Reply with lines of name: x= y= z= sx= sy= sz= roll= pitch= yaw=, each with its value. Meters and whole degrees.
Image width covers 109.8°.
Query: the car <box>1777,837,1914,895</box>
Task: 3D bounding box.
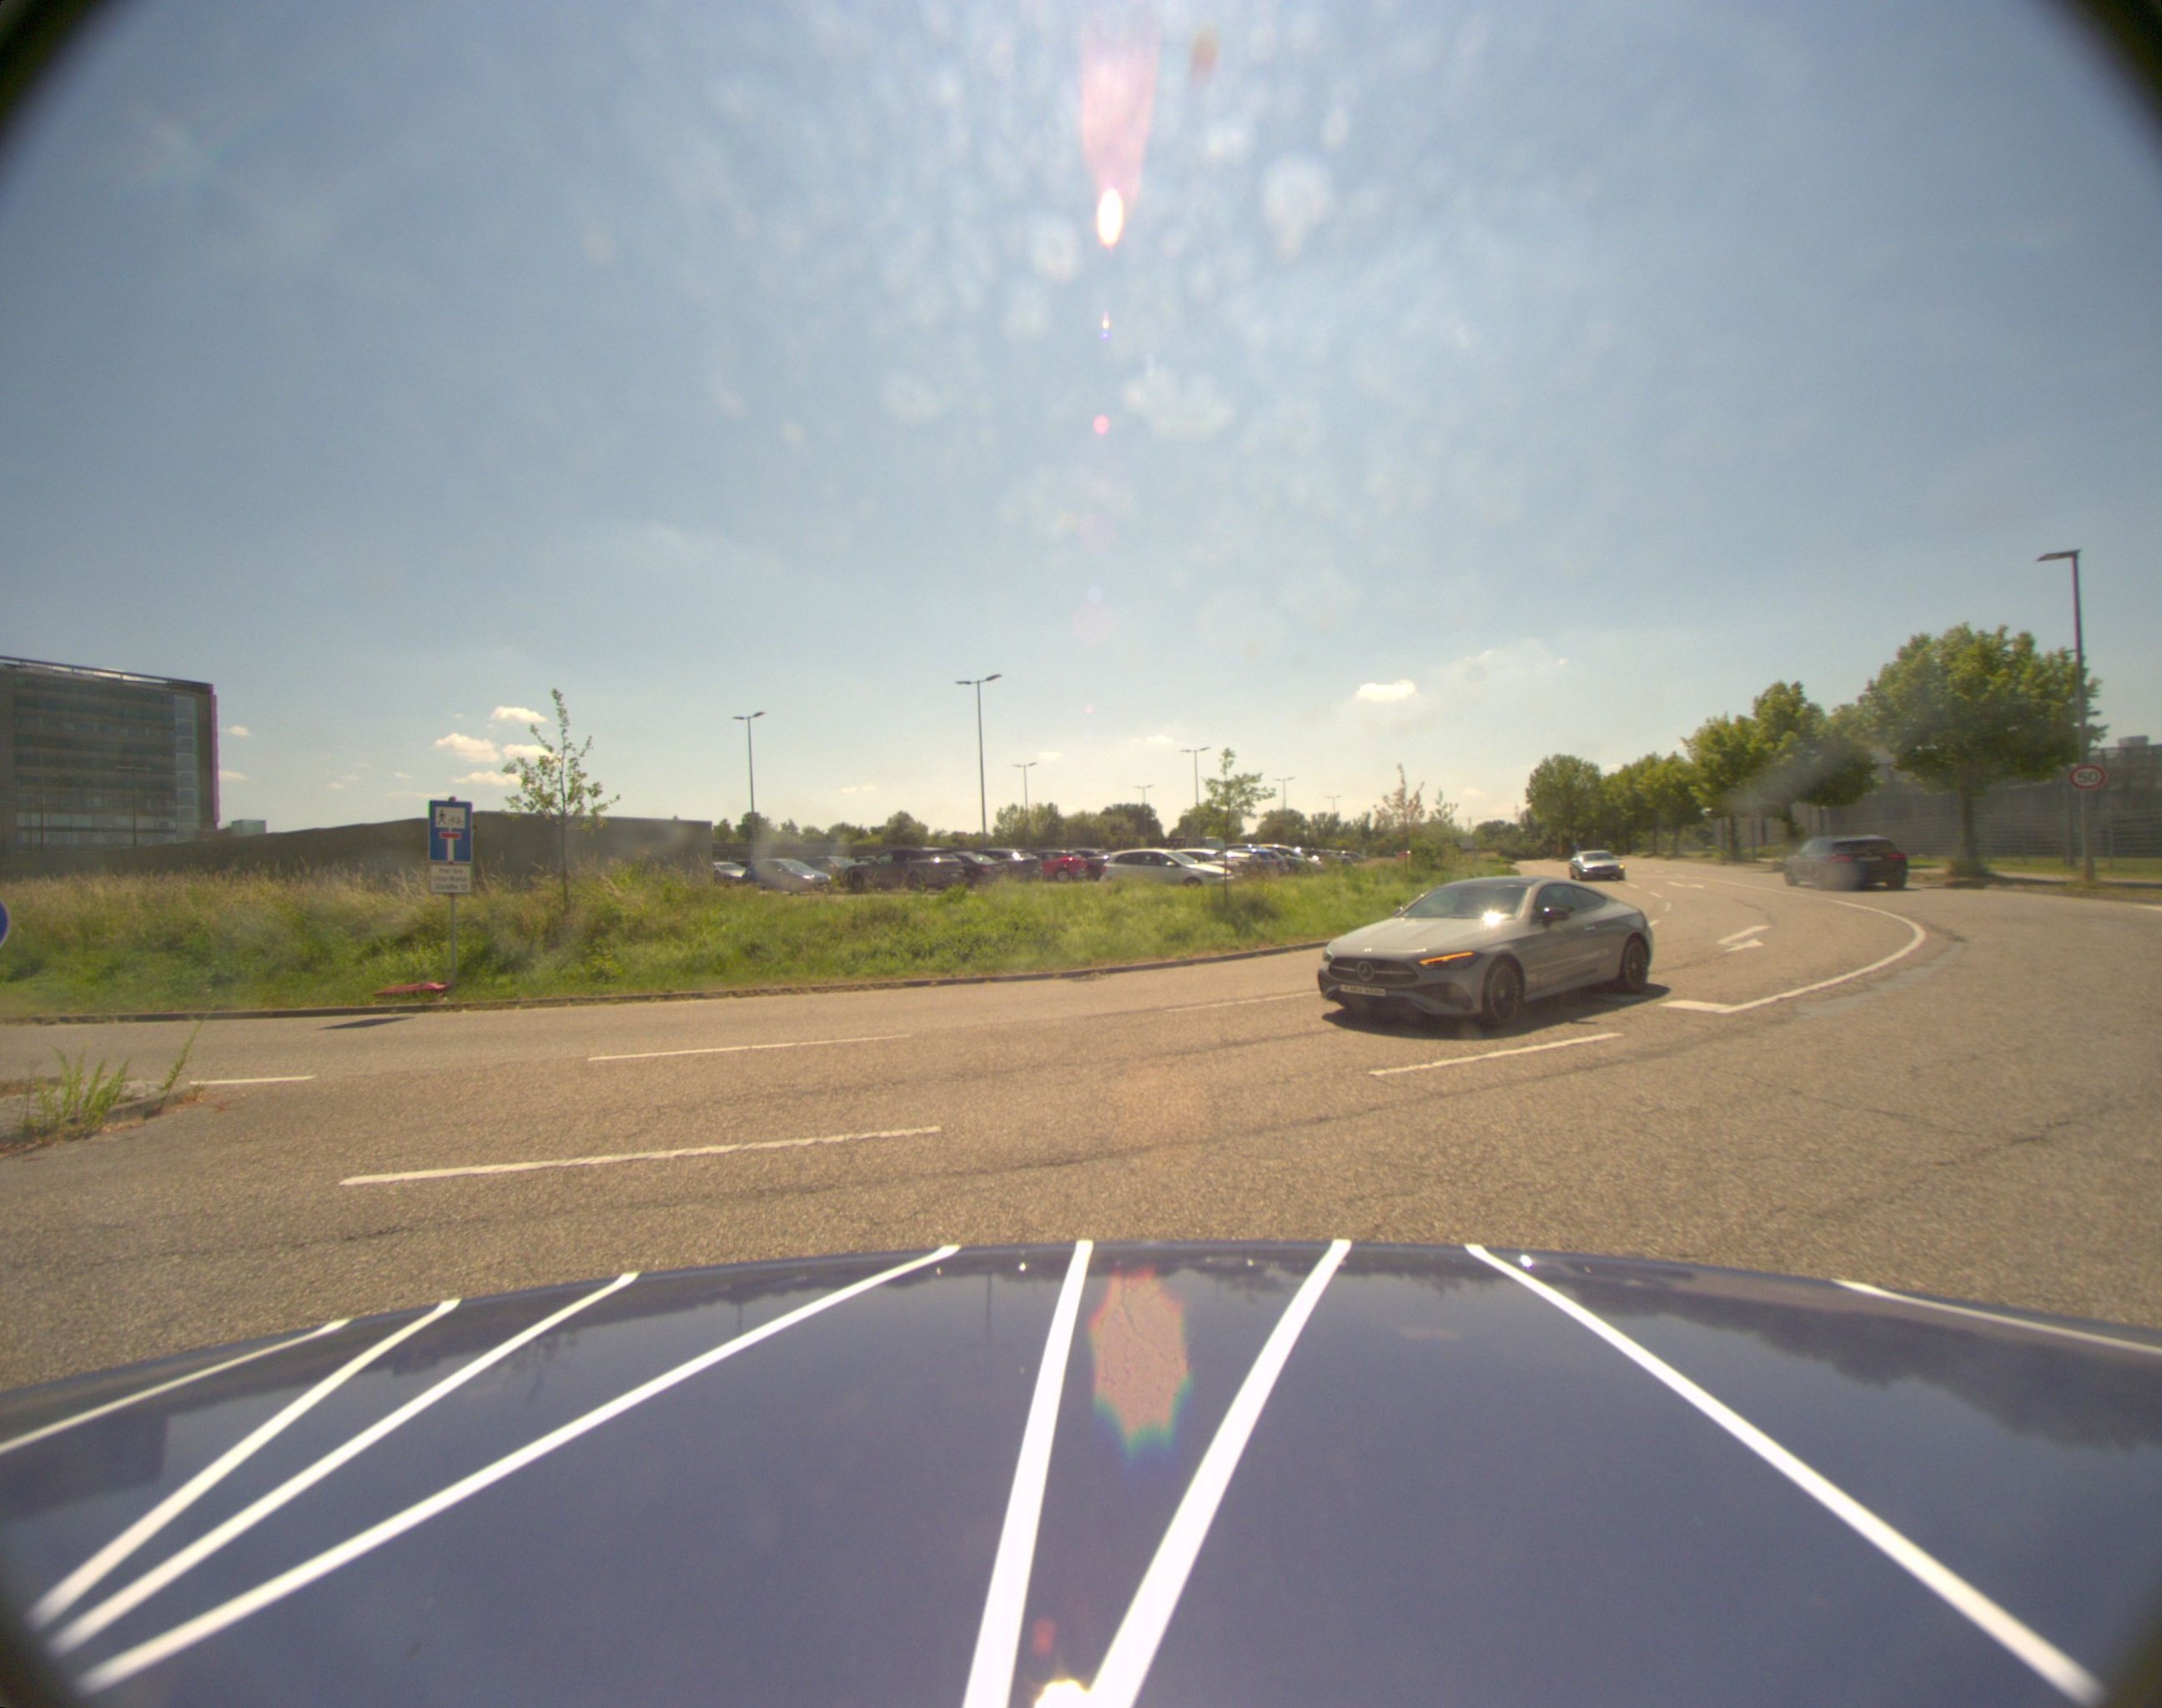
car: x=24.111 y=0.320 z=24.183 sx=1.865 sy=1.625 sz=4.607 roll=-3 pitch=0 yaw=30

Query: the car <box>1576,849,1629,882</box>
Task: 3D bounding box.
car: x=25.424 y=0.535 z=37.166 sx=1.670 sy=1.366 sz=4.505 roll=-5 pitch=-1 yaw=30

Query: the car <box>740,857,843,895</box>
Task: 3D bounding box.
car: x=-11.559 y=0.880 z=30.313 sx=3.631 sy=1.437 sz=1.655 roll=-1 pitch=0 yaw=21

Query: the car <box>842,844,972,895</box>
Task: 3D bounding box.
car: x=-6.491 y=0.612 z=28.270 sx=4.593 sy=1.680 sz=1.781 roll=-3 pitch=-1 yaw=27

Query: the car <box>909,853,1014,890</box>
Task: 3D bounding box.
car: x=-4.760 y=0.697 z=30.192 sx=3.839 sy=1.355 sz=1.655 roll=-1 pitch=1 yaw=27

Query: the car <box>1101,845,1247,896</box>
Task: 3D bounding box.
car: x=2.680 y=0.490 z=22.098 sx=3.868 sy=1.290 sz=1.577 roll=-2 pitch=2 yaw=30

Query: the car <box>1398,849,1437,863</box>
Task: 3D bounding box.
car: x=39.128 y=0.192 z=88.384 sx=3.991 sy=1.343 sz=1.649 roll=-4 pitch=0 yaw=25

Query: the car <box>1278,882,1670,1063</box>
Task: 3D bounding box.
car: x=4.630 y=1.124 z=8.718 sx=4.641 sy=1.375 sz=1.894 roll=-2 pitch=-1 yaw=-33

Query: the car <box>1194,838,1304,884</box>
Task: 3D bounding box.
car: x=6.952 y=0.310 z=31.462 sx=4.032 sy=1.421 sz=1.690 roll=-7 pitch=-2 yaw=26

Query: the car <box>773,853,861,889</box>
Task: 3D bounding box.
car: x=-11.800 y=0.748 z=33.944 sx=3.630 sy=1.490 sz=1.601 roll=-1 pitch=1 yaw=27

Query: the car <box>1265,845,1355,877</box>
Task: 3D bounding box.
car: x=11.647 y=0.363 z=38.645 sx=3.990 sy=1.284 sz=1.912 roll=-4 pitch=0 yaw=30

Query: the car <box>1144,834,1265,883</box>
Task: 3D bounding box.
car: x=4.394 y=0.172 z=27.073 sx=3.738 sy=1.519 sz=1.880 roll=-2 pitch=2 yaw=34

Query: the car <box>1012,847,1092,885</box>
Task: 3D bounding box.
car: x=-1.408 y=0.570 z=36.681 sx=3.412 sy=1.564 sz=1.524 roll=-4 pitch=0 yaw=25

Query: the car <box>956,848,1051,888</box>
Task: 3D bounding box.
car: x=-3.344 y=0.589 z=32.657 sx=3.630 sy=1.588 sz=1.772 roll=-1 pitch=1 yaw=27

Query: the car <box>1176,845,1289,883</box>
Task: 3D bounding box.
car: x=5.852 y=0.387 z=29.376 sx=3.937 sy=1.250 sz=1.588 roll=-2 pitch=2 yaw=26

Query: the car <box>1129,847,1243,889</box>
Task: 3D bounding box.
car: x=3.394 y=0.461 z=24.574 sx=3.262 sy=1.175 sz=1.503 roll=-2 pitch=2 yaw=29

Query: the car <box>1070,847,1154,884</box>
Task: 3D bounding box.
car: x=1.599 y=0.587 z=39.211 sx=3.870 sy=1.590 sz=1.743 roll=-4 pitch=0 yaw=26

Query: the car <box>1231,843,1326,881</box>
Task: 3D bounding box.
car: x=8.775 y=0.369 z=33.819 sx=3.840 sy=1.615 sz=1.620 roll=-1 pitch=1 yaw=26
